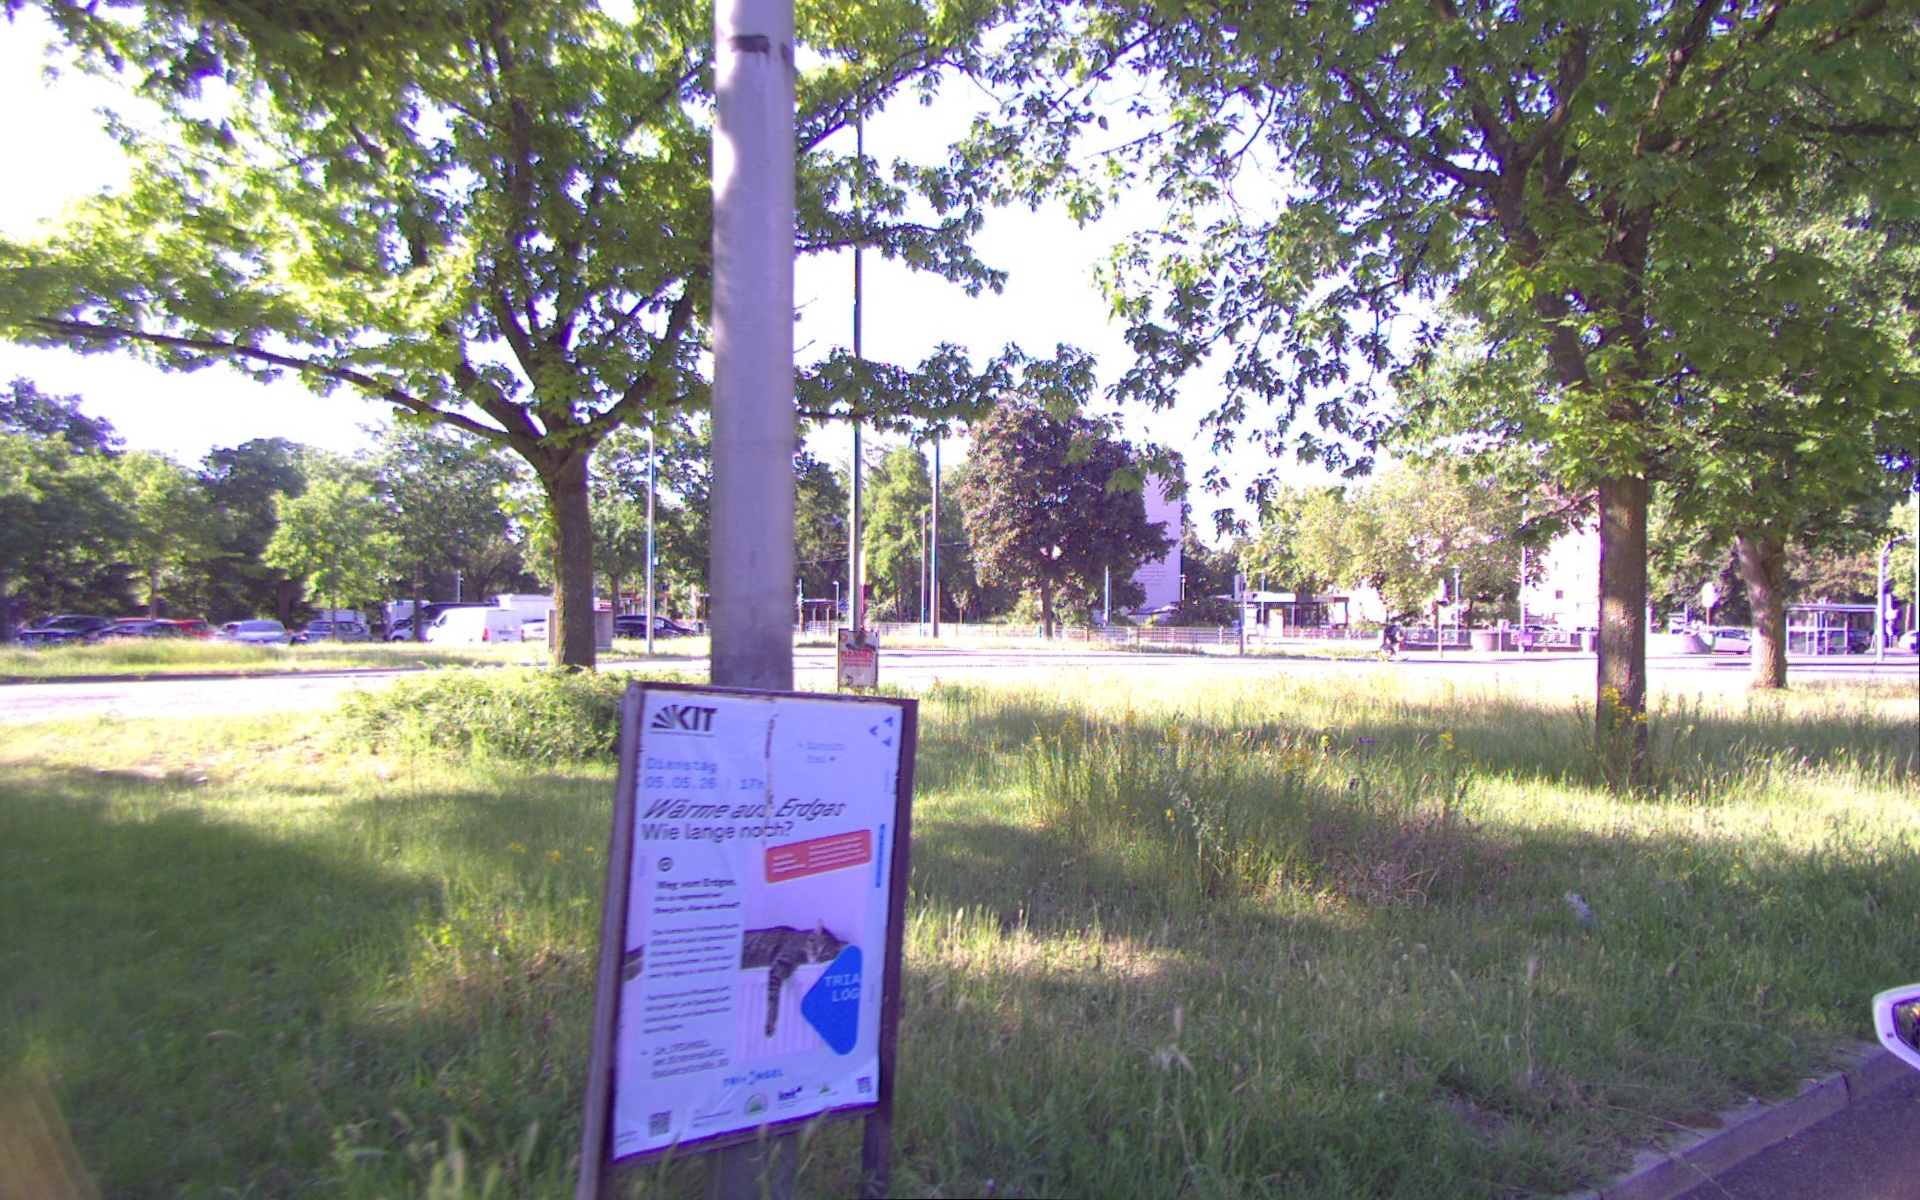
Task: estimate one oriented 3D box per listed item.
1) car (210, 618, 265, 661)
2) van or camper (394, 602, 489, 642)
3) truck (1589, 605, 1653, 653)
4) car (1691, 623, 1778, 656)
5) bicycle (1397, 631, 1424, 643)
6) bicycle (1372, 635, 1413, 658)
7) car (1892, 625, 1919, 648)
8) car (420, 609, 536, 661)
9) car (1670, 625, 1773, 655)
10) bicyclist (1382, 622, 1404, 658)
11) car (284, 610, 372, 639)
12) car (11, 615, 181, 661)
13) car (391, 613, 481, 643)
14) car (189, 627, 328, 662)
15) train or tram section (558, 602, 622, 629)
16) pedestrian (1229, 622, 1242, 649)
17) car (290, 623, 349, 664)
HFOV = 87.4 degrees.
[{"bbox_3d":[-32.628,1.750,45.443,1.635,1.628,3.854,1,2,-30],"label":"car"},{"bbox_3d":[-28.970,1.241,56.306,4.326,2.124,1.995,1,-1,-14],"label":"van or camper"},{"bbox_3d":[43.806,1.856,66.701,1.959,3.035,4.831,0,0,13],"label":"truck"},{"bbox_3d":[47.230,2.394,61.349,3.928,1.741,1.760,1,3,30],"label":"car"},{"bbox_3d":[31.610,2.597,70.490,1.652,0.850,0.548,0,-1,18],"label":"bicycle"},{"bbox_3d":[19.279,2.068,44.804,1.628,1.014,0.613,0,1,-10],"label":"bicycle"},{"bbox_3d":[63.204,2.405,64.704,1.650,1.468,4.363,1,-1,-32],"label":"car"},{"bbox_3d":[-20.214,1.414,42.062,4.917,2.040,2.232,0,-1,35],"label":"car"},{"bbox_3d":[44.984,2.367,59.428,4.457,1.565,1.873,1,2,14],"label":"car"},{"bbox_3d":[19.317,1.781,44.811,0.664,1.551,0.613,0,1,-9],"label":"bicyclist"},{"bbox_3d":[-35.707,1.361,56.867,3.942,1.530,1.989,0,0,-23],"label":"car"},{"bbox_3d":[-29.035,1.261,33.869,3.929,1.467,1.819,1,-1,-11],"label":"car"},{"bbox_3d":[-28.094,1.504,53.990,3.932,1.493,1.963,1,2,-14],"label":"car"},{"bbox_3d":[-24.854,1.546,35.694,3.962,1.143,1.803,1,-1,-37],"label":"car"},{"bbox_3d":[-43.764,1.727,118.055,2.444,2.979,19.655,1,-1,-34],"label":"train or tram section"},{"bbox_3d":[19.475,2.510,71.033,0.714,1.853,0.559,1,-1,-9],"label":"pedestrian"},{"bbox_3d":[-30.173,2.027,47.442,1.630,1.628,3.865,1,2,-22],"label":"car"}]
